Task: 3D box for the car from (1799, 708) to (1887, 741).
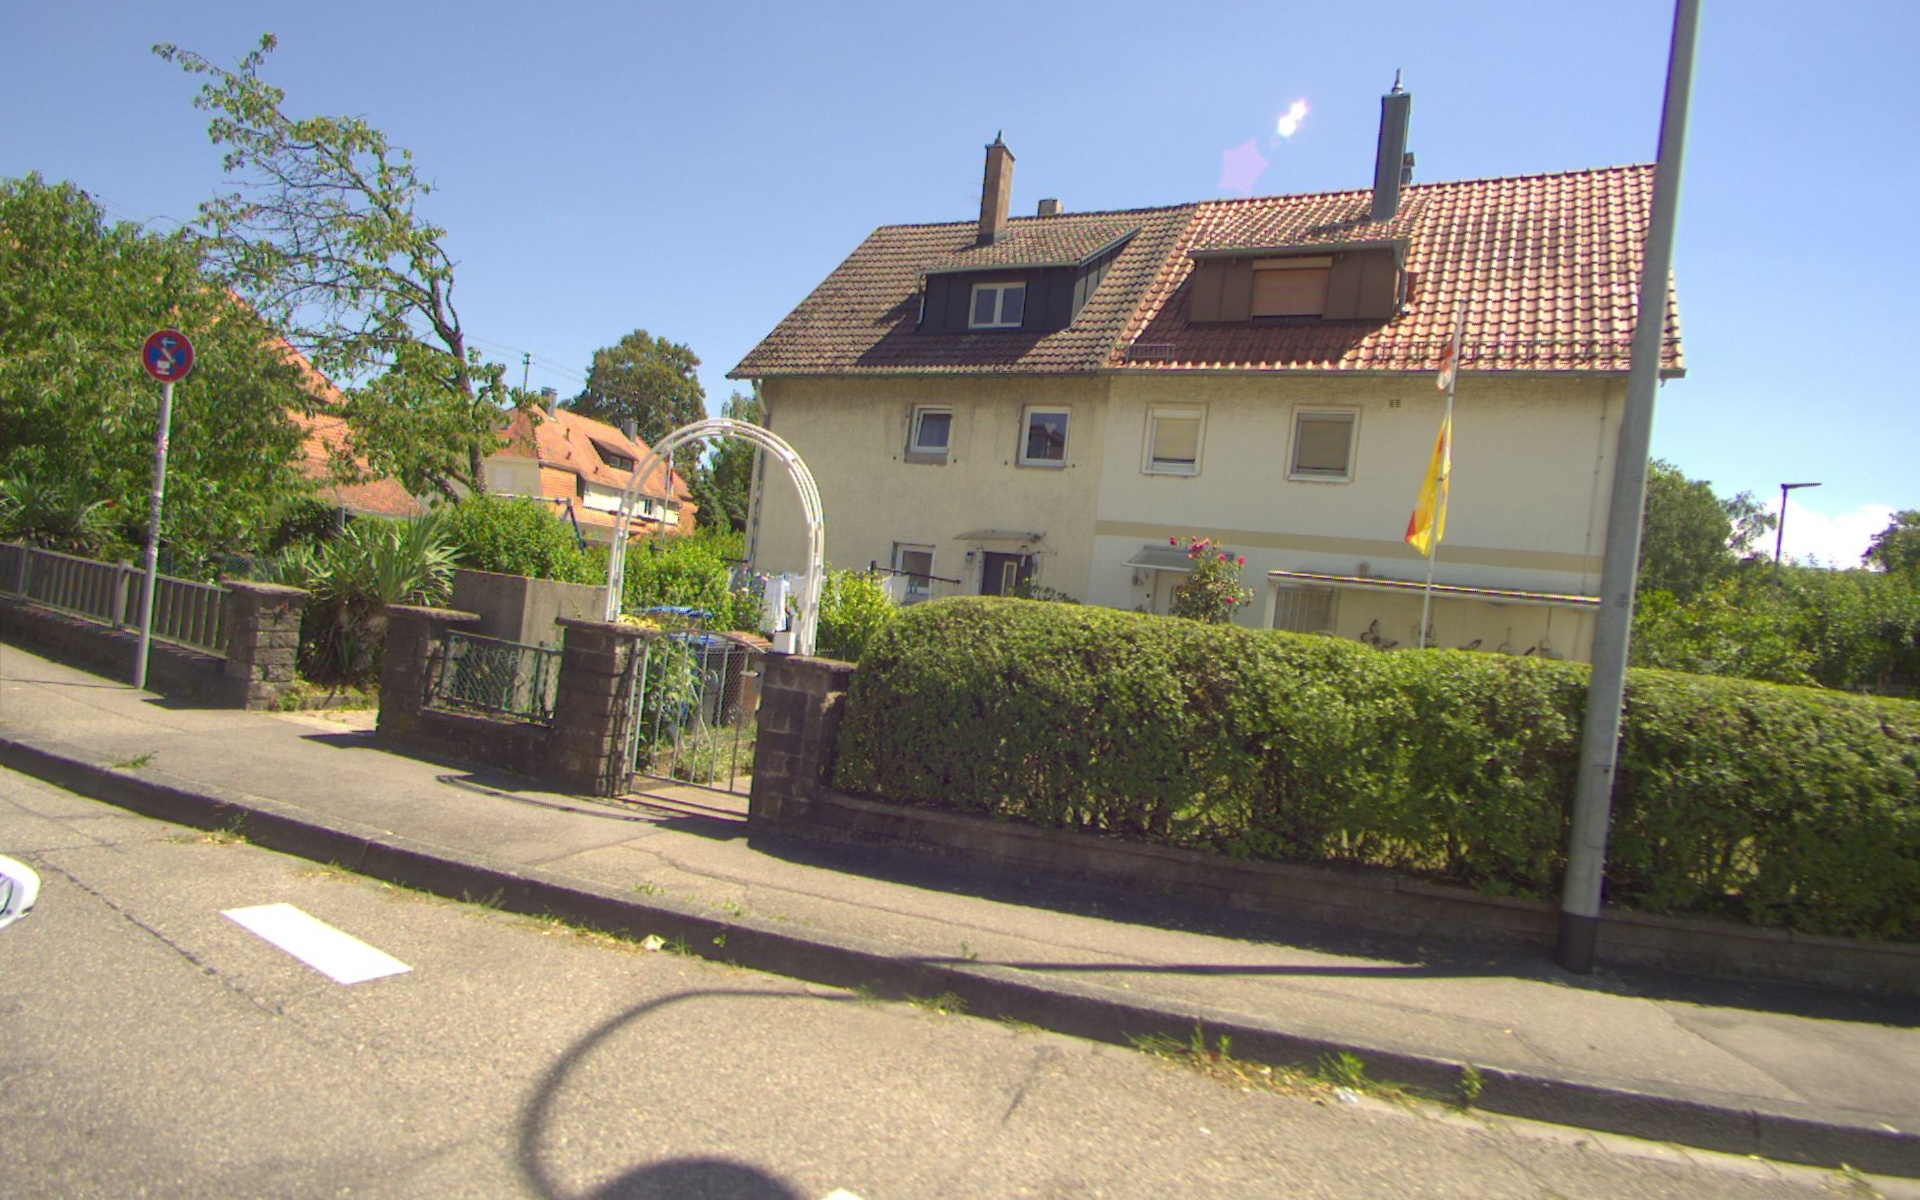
[{"bbox_3d":[55.412,7.805,63.206,1.694,1.456,3.814,6,-1,-37],"label":"car"}]
